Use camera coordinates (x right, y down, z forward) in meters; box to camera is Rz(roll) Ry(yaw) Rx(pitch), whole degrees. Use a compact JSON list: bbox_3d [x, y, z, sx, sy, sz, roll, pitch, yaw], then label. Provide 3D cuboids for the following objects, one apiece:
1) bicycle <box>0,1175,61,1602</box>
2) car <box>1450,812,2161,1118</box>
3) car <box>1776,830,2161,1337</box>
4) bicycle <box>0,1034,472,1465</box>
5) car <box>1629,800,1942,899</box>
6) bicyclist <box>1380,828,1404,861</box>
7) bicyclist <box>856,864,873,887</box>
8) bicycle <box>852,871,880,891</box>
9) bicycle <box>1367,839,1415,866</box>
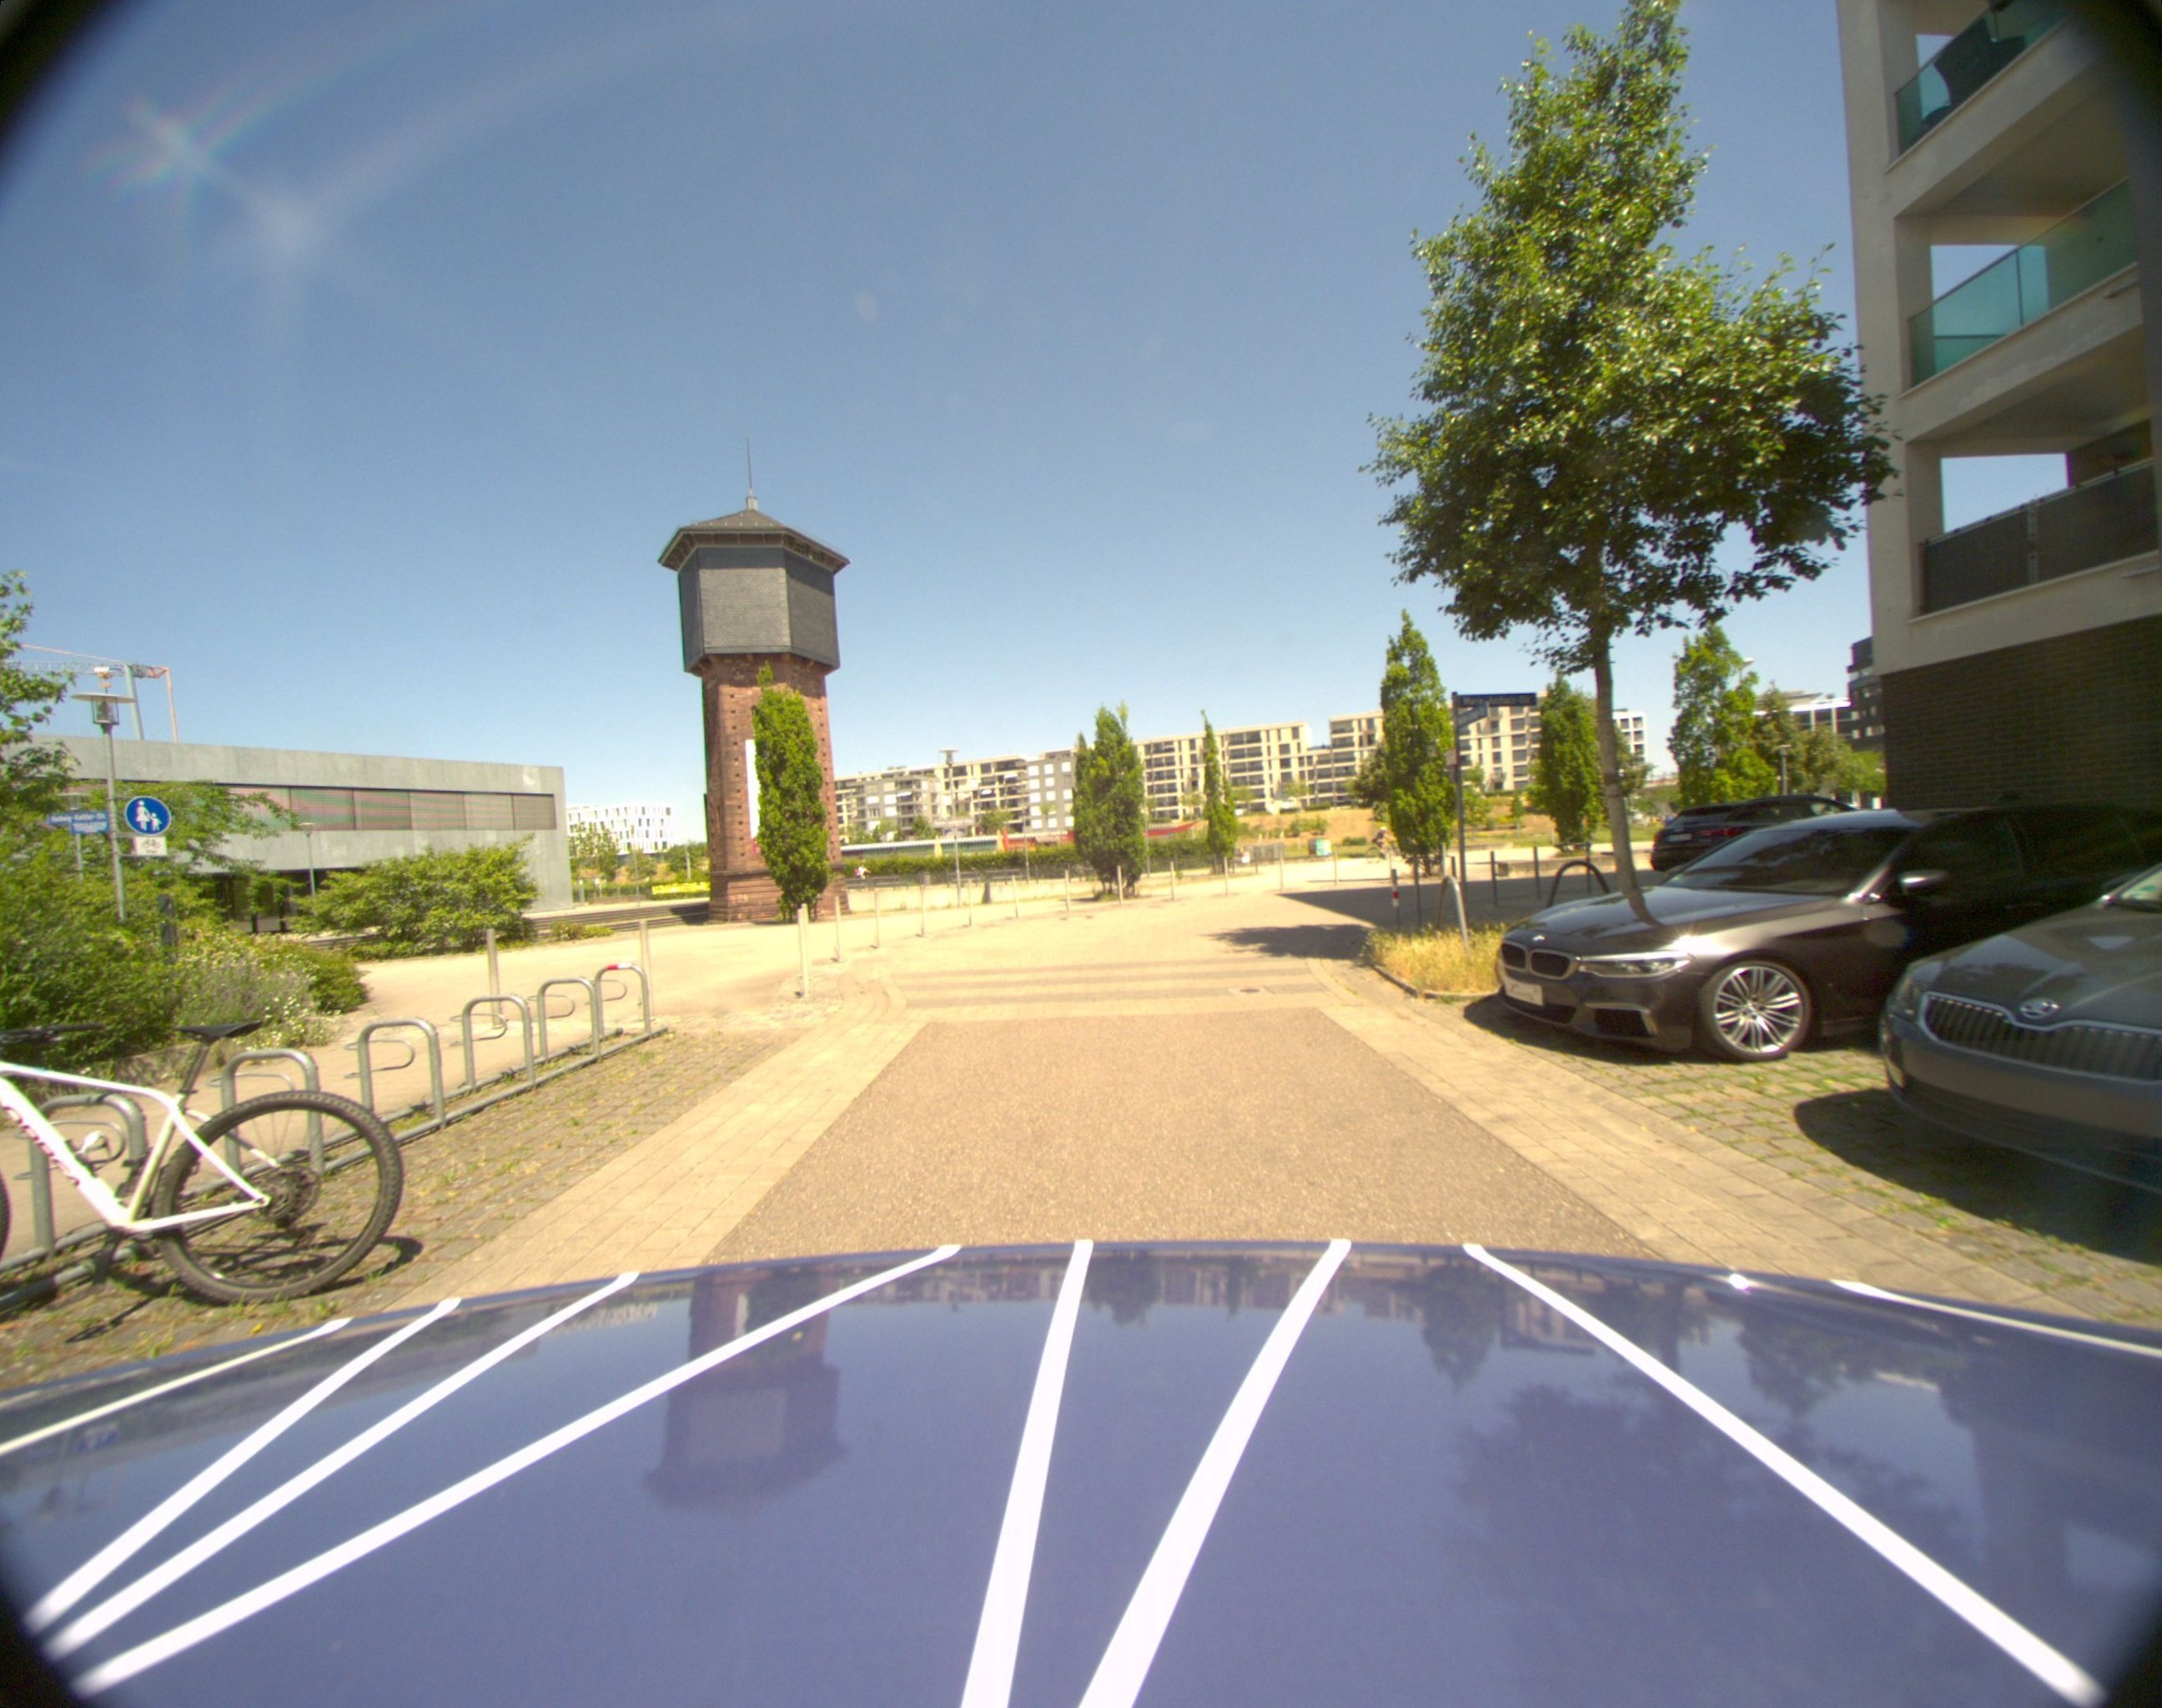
[{"bbox_3d":[-3.560,1.318,1.632,1.856,0.969,0.946,-2,1,14],"label":"bicycle"},{"bbox_3d":[5.646,0.592,5.348,5.112,1.476,1.927,-4,1,-1],"label":"car"},{"bbox_3d":[5.733,0.562,2.703,4.831,1.441,1.827,-6,1,-1],"label":"car"},{"bbox_3d":[-3.519,1.297,2.589,2.033,0.997,0.874,-2,1,-11],"label":"bicycle"},{"bbox_3d":[13.199,-0.068,14.388,4.395,1.510,1.779,-3,-1,-5],"label":"car"},{"bbox_3d":[14.324,-0.442,35.052,0.881,1.447,0.860,-4,1,17],"label":"bicyclist"},{"bbox_3d":[-14.198,1.394,49.847,0.659,1.426,0.735,-4,1,34],"label":"bicyclist"},{"bbox_3d":[-14.130,1.776,49.851,1.937,1.192,0.592,-4,1,34],"label":"bicycle"},{"bbox_3d":[14.294,-0.077,35.064,1.911,1.111,0.800,-4,1,17],"label":"bicycle"}]
